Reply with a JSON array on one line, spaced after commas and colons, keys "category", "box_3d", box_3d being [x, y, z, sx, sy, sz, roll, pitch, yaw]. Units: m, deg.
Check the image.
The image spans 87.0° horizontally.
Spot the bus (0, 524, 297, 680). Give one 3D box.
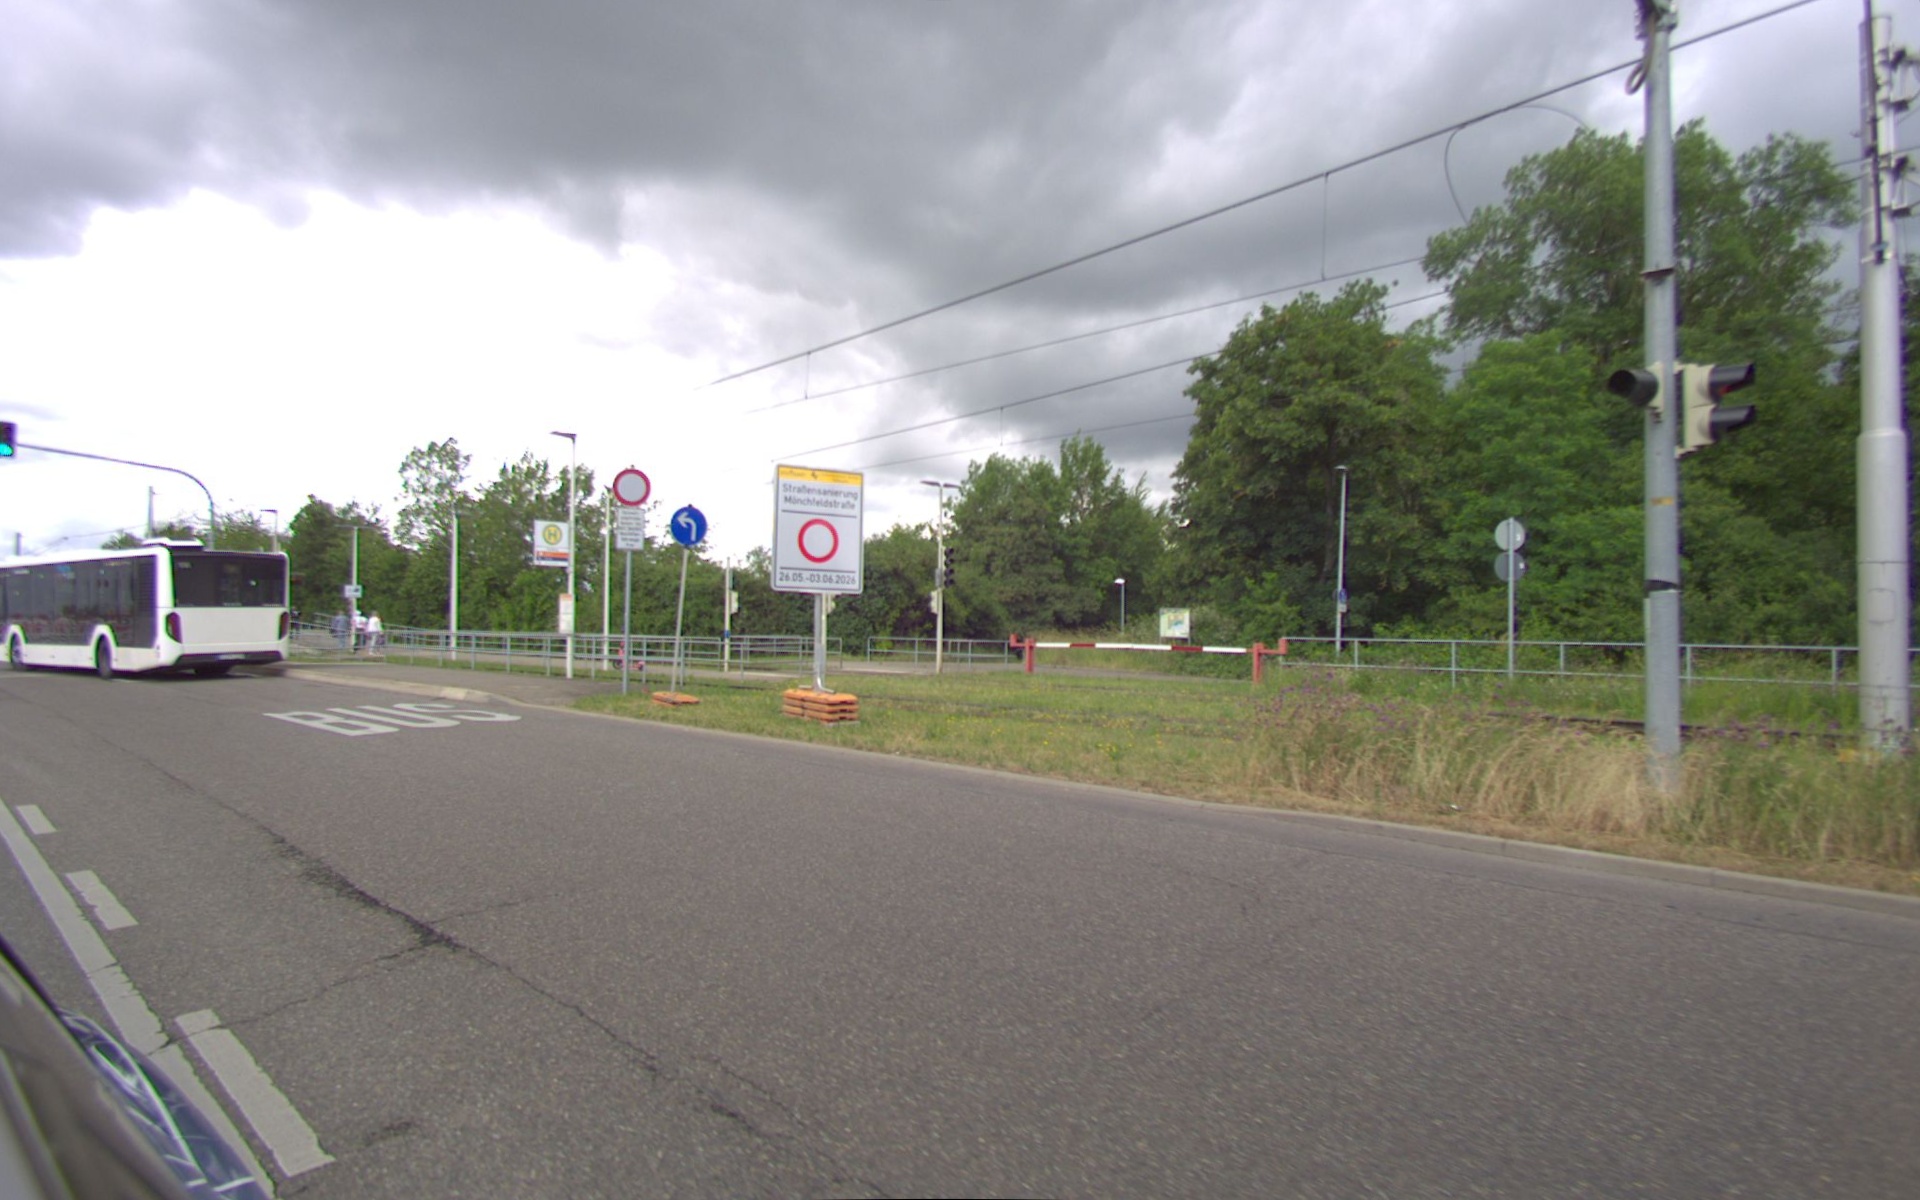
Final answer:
[{"category": "bus", "box_3d": [-21.076, 0.087, 25.410, 12.161, 3.227, 2.645, 0, -1, 33]}]

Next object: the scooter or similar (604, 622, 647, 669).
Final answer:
[{"category": "scooter or similar", "box_3d": [-9.311, 1.244, 28.191, 1.264, 1.281, 0.407, -1, -2, 31]}]
